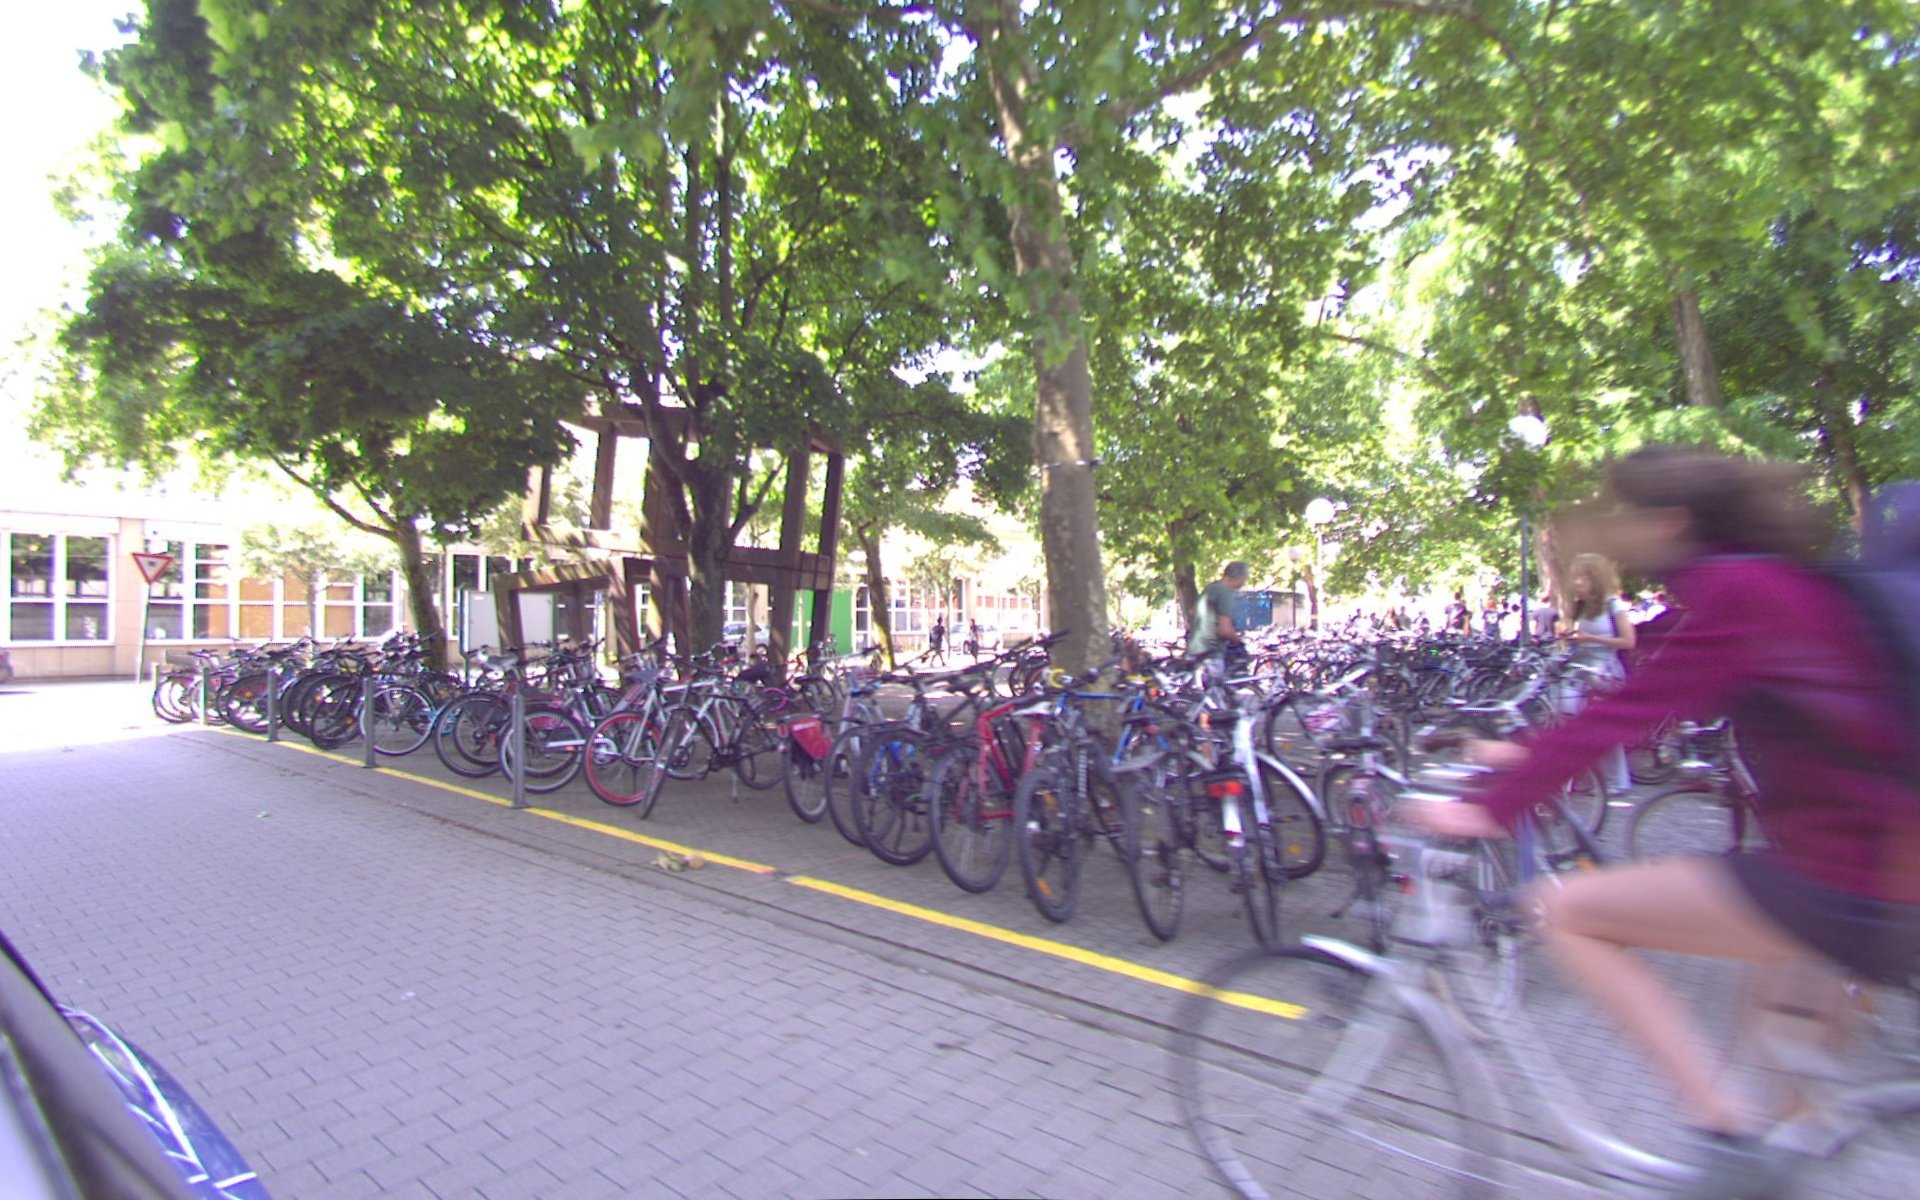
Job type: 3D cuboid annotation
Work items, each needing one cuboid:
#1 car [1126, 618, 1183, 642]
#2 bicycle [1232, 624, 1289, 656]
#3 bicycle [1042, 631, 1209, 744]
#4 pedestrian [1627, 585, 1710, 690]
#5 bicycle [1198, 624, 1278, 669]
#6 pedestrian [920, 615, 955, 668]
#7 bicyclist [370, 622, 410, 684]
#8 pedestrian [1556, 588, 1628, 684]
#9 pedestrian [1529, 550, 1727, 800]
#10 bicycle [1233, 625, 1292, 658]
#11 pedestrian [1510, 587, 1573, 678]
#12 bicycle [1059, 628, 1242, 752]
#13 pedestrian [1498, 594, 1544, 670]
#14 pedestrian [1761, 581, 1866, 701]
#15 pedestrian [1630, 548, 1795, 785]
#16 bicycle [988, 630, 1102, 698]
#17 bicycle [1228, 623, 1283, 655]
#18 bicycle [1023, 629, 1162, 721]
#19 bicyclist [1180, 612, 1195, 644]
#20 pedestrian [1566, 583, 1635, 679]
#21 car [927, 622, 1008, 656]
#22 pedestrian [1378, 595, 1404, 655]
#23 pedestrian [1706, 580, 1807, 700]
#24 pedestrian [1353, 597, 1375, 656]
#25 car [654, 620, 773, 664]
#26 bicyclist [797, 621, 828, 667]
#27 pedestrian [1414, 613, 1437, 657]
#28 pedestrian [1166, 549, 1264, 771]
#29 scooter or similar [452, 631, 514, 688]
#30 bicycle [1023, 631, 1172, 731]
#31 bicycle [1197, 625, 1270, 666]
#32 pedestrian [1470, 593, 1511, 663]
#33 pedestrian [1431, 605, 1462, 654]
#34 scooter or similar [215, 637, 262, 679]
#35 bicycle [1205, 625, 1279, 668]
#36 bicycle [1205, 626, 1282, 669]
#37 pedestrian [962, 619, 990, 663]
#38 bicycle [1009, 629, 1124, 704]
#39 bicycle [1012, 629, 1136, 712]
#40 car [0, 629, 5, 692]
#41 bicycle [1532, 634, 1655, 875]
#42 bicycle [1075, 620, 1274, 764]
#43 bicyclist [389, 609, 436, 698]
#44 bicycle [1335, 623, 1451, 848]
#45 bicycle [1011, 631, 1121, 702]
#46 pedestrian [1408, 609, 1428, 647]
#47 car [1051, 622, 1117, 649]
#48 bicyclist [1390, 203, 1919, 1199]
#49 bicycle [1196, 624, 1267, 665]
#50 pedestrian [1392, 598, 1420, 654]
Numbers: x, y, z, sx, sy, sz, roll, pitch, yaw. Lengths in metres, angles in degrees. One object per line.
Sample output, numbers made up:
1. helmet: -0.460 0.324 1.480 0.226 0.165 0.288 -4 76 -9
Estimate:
1. car: 13.000 2.008 67.470 1.836 1.553 4.479 -2 -2 39
2. bicycle: 10.428 1.390 35.137 1.838 1.092 0.473 -1 0 10
3. bicycle: 1.756 0.910 10.777 1.671 1.116 0.504 -1 0 -13
4. pedestrian: 11.763 0.610 16.830 0.761 1.692 0.905 -1 -1 7
5. bicycle: 6.891 1.146 25.114 1.835 1.092 0.473 -1 0 4
6. pedestrian: -0.733 1.334 32.785 0.727 1.697 0.863 -2 -2 37
7. bicyclist: -14.485 1.331 25.730 0.605 1.546 0.717 1 -1 43
8. pedestrian: 11.424 0.641 18.322 0.761 1.692 0.905 -1 -1 7
9. pedestrian: 4.879 0.513 7.431 0.892 1.716 0.772 -1 -1 -14
10. bicycle: 10.127 1.396 33.960 1.838 1.092 0.473 -1 0 10
11. pedestrian: 11.699 0.642 20.379 0.761 1.788 0.905 -1 -1 7
12. bicycle: 1.846 0.849 9.861 1.671 1.116 0.504 -1 0 -13
13. pedestrian: 13.546 0.760 24.459 0.764 1.788 0.901 -1 -1 19
14. pedestrian: 12.467 0.586 14.807 0.761 1.692 0.905 -1 -1 7
15. pedestrian: 5.810 0.488 7.875 0.903 1.716 0.762 -1 -1 30
16. bicycle: 1.431 1.081 17.169 1.882 1.116 0.502 -1 0 4
17. bicycle: 10.576 1.389 36.260 1.848 1.092 0.470 -1 0 25
18. bicycle: 1.718 0.963 13.255 1.672 1.116 0.632 -1 0 -9
19. bicyclist: 13.363 1.647 59.432 0.603 1.815 0.889 -3 -3 32
20. pedestrian: 12.249 0.590 19.377 0.761 1.788 0.905 -1 -1 7
21. car: 0.439 1.978 52.331 1.836 1.646 4.479 -2 -2 39
22. pedestrian: 12.956 0.754 30.442 0.607 1.788 0.652 -1 -1 31
23. pedestrian: 11.701 0.575 14.894 0.761 1.692 0.905 -1 -1 7
24. pedestrian: 12.327 0.811 30.869 0.501 1.784 0.664 -1 -1 31
25. car: -9.834 1.640 40.731 1.836 1.630 4.480 0 0 39
26. bicyclist: -5.181 1.526 35.540 0.639 1.585 0.864 0 -1 37
27. pedestrian: 18.909 1.414 41.108 0.765 1.788 0.900 -1 -1 23
28. pedestrian: 2.180 0.500 8.731 0.701 1.820 0.768 -1 -1 8
29. scooter or similar: -10.356 1.284 21.990 1.165 1.204 0.293 0 -2 -13
30. bicycle: 1.639 0.949 12.102 1.672 1.116 0.504 -1 0 -9
31. bicycle: 7.452 1.243 27.592 1.835 1.092 0.473 -1 0 4
32. pedestrian: 13.825 0.736 26.400 0.763 1.788 0.902 -1 -1 18
33. pedestrian: 17.833 1.069 37.092 0.769 1.788 0.895 -2 -1 41
34. scooter or similar: -21.988 1.765 30.856 0.290 1.235 1.142 -3 -2 44
35. bicycle: 7.524 1.241 27.031 1.835 1.092 0.473 -1 0 4
36. bicycle: 7.384 1.236 26.386 1.835 1.092 0.473 -1 0 4
37. pedestrian: 0.570 1.473 36.299 0.570 1.531 0.829 -2 -1 42
38. bicycle: 1.655 1.037 15.858 1.756 1.116 0.502 -1 0 4
39. bicycle: 1.626 0.998 14.472 1.672 1.116 0.504 -1 0 -9
40. car: -24.824 1.459 23.178 1.652 1.487 4.155 0 0 40
41. bicycle: 3.578 0.783 5.802 0.501 1.116 1.682 -1 0 29
42. bicycle: 1.952 0.806 9.249 1.671 1.209 0.577 -1 0 -13
43. bicyclist: -12.175 1.177 22.495 0.853 1.906 0.808 1 0 -31
44. bicycle: 2.850 0.786 6.578 0.501 1.229 1.682 -1 0 29
45. bicycle: 1.716 1.080 16.579 1.756 1.116 0.502 -1 0 4
46. pedestrian: 21.775 1.324 48.121 0.765 1.816 0.900 -1 -1 23
47. car: 7.499 2.139 60.913 1.836 1.553 4.479 -2 -2 39
48. bicyclist: 1.315 0.357 1.721 0.910 1.729 0.764 0 -1 38
49. bicycle: 7.560 1.242 28.188 1.835 1.092 0.473 -1 0 4
50. pedestrian: 14.346 0.825 32.574 0.765 1.788 0.900 -1 -1 23
